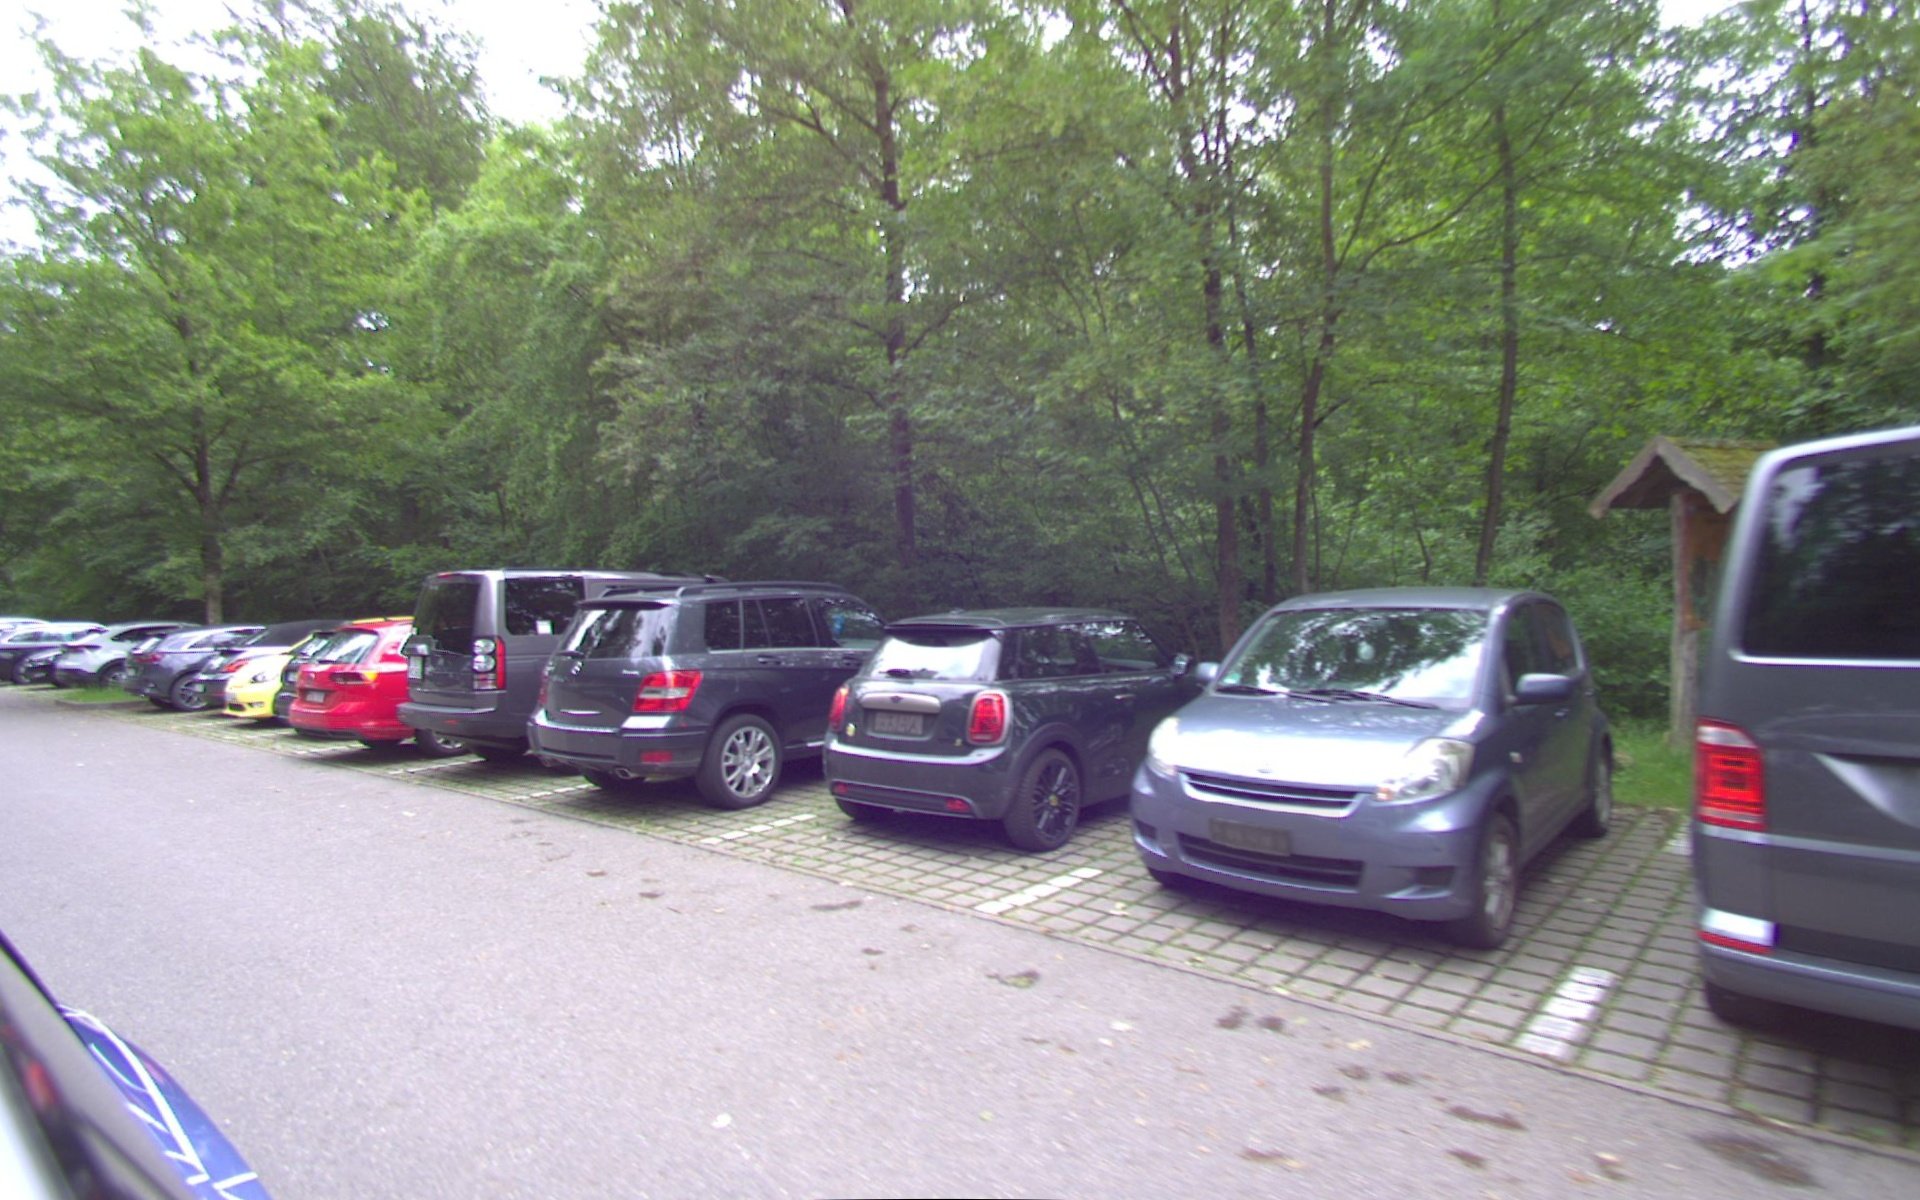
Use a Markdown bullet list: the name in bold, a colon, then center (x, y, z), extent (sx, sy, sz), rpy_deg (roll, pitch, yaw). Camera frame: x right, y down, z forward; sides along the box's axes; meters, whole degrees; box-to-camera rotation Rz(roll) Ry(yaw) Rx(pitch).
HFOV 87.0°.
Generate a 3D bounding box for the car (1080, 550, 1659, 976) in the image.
- **car**: center (2.510, 0.599, 5.647), extent (1.809, 1.524, 3.774), rpy_deg (-2, -1, 42)

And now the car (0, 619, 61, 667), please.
- **car**: center (-34.644, 1.536, 35.845), extent (1.693, 1.675, 3.949), rpy_deg (-2, -1, 37)

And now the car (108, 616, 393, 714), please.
- **car**: center (-12.903, 1.100, 18.599), extent (1.713, 1.449, 3.948), rpy_deg (-2, 0, 39)

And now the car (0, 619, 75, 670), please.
- **car**: center (-32.738, 1.510, 34.281), extent (1.813, 1.675, 3.947), rpy_deg (-2, -1, 40)

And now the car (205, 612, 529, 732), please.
- **car**: center (-8.921, 0.997, 15.502), extent (1.616, 1.449, 3.948), rpy_deg (-2, 0, 39)

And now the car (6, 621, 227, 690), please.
- **car**: center (-20.575, 1.305, 24.804), extent (1.676, 1.446, 3.946), rpy_deg (-2, -1, 41)

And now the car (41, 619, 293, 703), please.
- **car**: center (-16.806, 1.222, 21.605), extent (1.713, 1.478, 3.948), rpy_deg (-2, 0, 39)

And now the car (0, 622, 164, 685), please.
- **car**: center (-23.332, 1.364, 26.282), extent (1.676, 1.446, 3.946), rpy_deg (-2, 0, 41)

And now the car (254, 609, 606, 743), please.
- **car**: center (-7.113, 0.927, 13.946), extent (1.669, 1.449, 3.951), rpy_deg (-2, 0, 37)

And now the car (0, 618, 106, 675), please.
- **car**: center (-29.054, 1.425, 31.146), extent (1.812, 1.675, 3.949), rpy_deg (-2, -1, 38)

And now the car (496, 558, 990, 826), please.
- **car**: center (-1.652, 0.582, 8.836), extent (1.821, 1.779, 3.950), rpy_deg (-2, 0, 37)

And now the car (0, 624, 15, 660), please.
- **car**: center (-42.268, 1.791, 42.241), extent (1.769, 1.527, 3.947), rpy_deg (-2, -1, 39)

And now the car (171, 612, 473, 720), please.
- **car**: center (-10.623, 1.018, 17.086), extent (1.732, 1.449, 3.948), rpy_deg (-2, 0, 39)

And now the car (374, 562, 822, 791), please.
- **car**: center (-3.510, 0.595, 10.411), extent (1.811, 1.876, 3.948), rpy_deg (-2, 0, 39)

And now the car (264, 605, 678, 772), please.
- **car**: center (-5.479, 0.872, 11.781), extent (1.777, 1.487, 3.950), rpy_deg (-2, 0, 37)

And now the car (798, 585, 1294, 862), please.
- **car**: center (0.877, 0.670, 7.564), extent (1.719, 1.441, 3.947), rpy_deg (-2, 0, 40)

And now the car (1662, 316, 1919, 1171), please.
- **car**: center (4.013, 0.301, 3.765), extent (1.889, 1.993, 4.457), rpy_deg (-1, 0, 40)

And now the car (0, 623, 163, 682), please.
- **car**: center (-24.843, 1.421, 28.164), extent (1.647, 1.446, 3.946), rpy_deg (-2, -1, 41)

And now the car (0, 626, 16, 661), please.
- **car**: center (-44.275, 1.959, 44.459), extent (1.816, 1.527, 3.947), rpy_deg (-2, -1, 39)
